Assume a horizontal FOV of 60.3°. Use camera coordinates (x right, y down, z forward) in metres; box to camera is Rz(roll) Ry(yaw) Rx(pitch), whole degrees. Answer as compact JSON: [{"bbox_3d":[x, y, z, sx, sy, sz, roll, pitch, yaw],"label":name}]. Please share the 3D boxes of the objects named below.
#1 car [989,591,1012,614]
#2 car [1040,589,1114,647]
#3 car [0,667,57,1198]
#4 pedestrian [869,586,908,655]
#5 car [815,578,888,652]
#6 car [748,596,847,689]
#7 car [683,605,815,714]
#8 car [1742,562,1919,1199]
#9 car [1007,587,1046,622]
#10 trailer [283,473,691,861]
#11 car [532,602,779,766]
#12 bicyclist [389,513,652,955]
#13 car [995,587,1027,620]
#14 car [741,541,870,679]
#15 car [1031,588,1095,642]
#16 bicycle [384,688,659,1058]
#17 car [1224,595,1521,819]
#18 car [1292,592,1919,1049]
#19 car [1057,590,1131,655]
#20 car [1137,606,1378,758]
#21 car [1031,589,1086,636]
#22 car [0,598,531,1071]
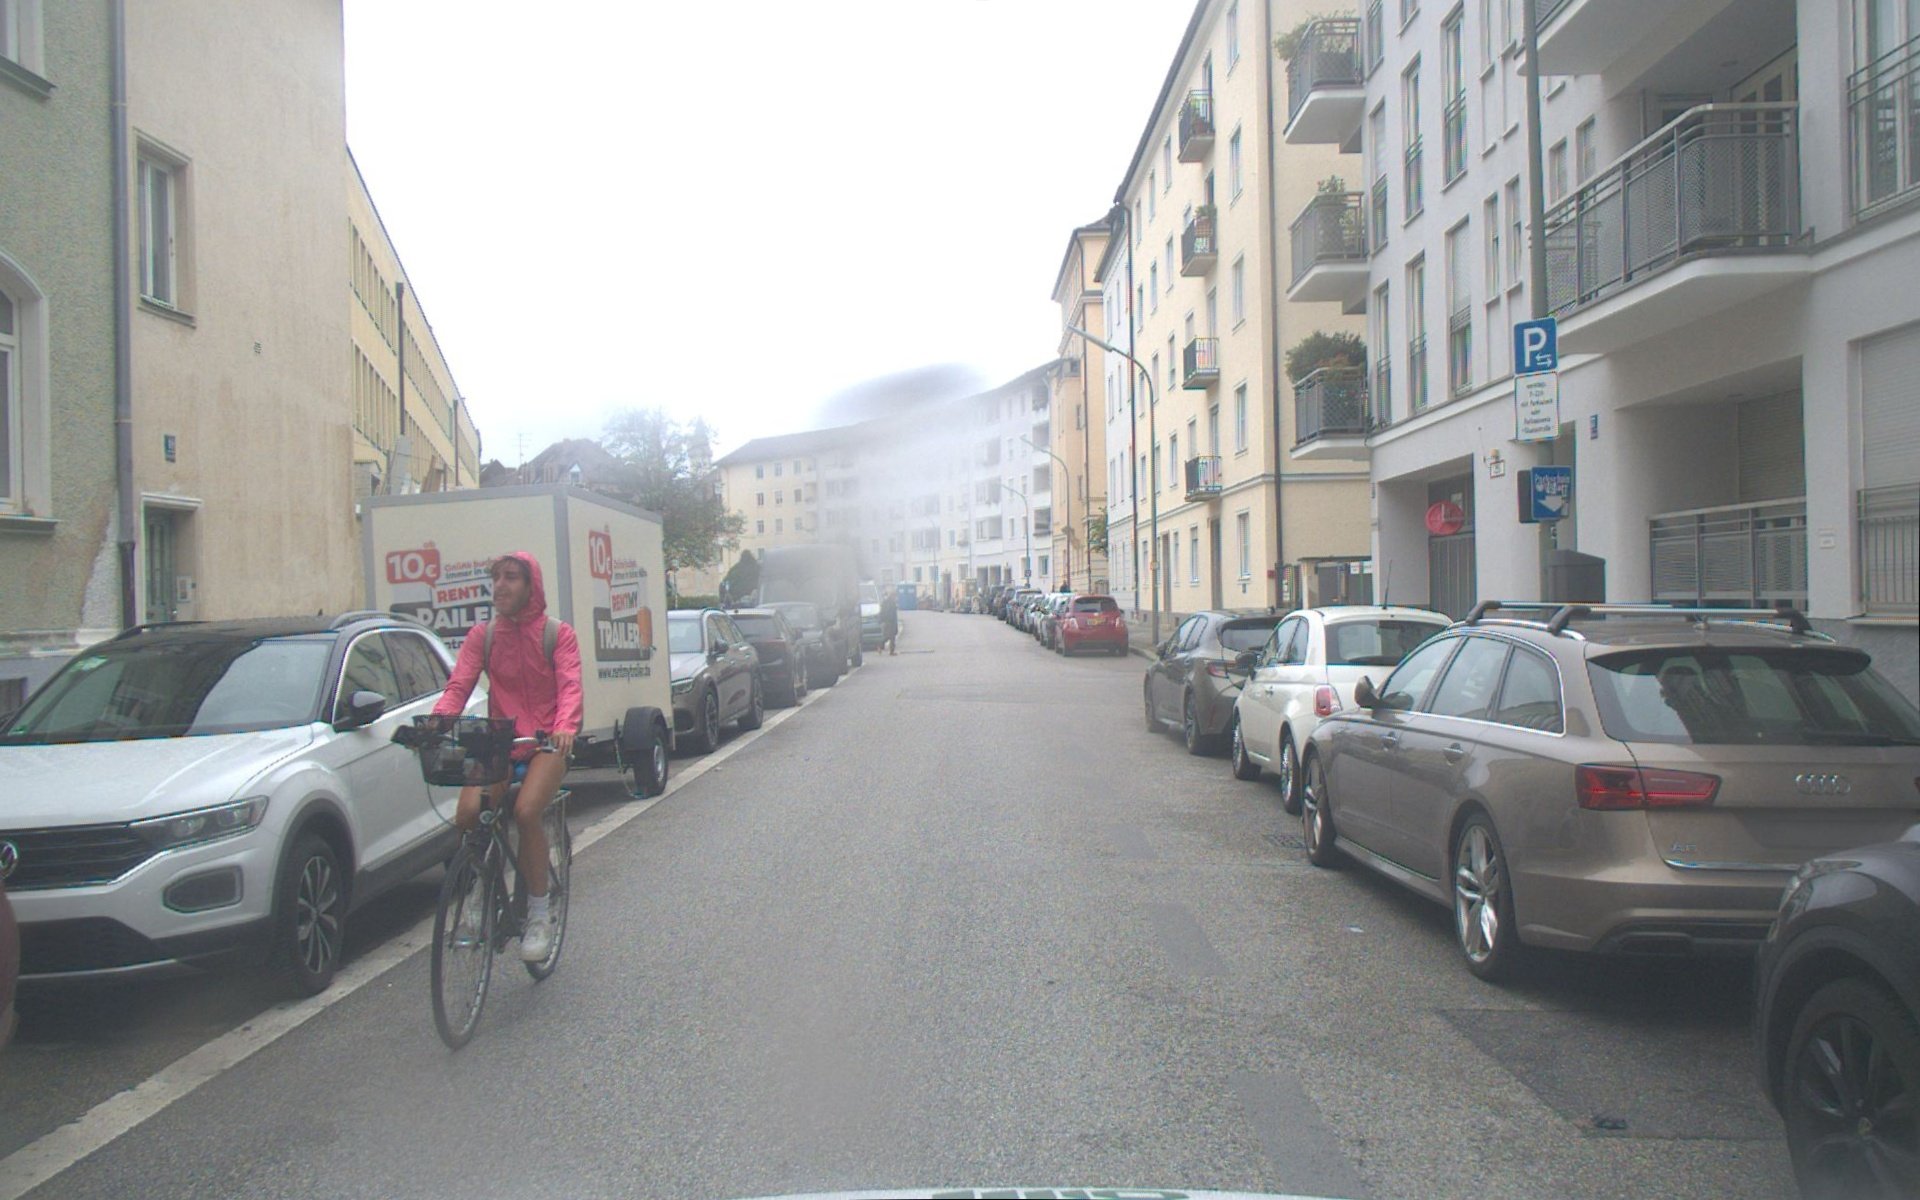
[{"bbox_3d":[2.423,0.121,99.030,1.246,1.321,2.797,-1,0,-1],"label":"car"},{"bbox_3d":[3.270,0.507,46.939,1.658,1.517,4.342,-2,0,-1],"label":"car"},{"bbox_3d":[-3.536,0.949,2.619,1.823,1.437,4.332,-3,0,-1],"label":"car"},{"bbox_3d":[-1.854,0.540,43.161,0.790,1.758,0.662,1,-2,-43],"label":"pedestrian"},{"bbox_3d":[-3.125,0.399,48.433,1.845,1.965,4.600,-3,1,-1],"label":"car"},{"bbox_3d":[-2.947,0.761,30.550,1.554,1.565,3.542,-2,-1,-2],"label":"car"},{"bbox_3d":[-3.196,0.854,25.663,1.666,1.471,3.823,-1,1,-2],"label":"car"},{"bbox_3d":[2.897,0.716,2.399,1.571,1.557,3.983,1,0,-1],"label":"car"},{"bbox_3d":[3.091,0.189,77.072,1.558,1.610,4.298,0,1,-1],"label":"car"},{"bbox_3d":[-3.532,0.432,13.270,1.674,2.504,4.388,-3,0,3],"label":"trailer"},{"bbox_3d":[-3.342,0.856,19.080,1.730,1.565,4.542,-3,0,3],"label":"car"},{"bbox_3d":[-1.699,0.487,6.530,0.679,1.589,0.967,-2,0,3],"label":"bicyclist"},{"bbox_3d":[2.671,0.174,86.970,1.444,1.669,4.000,0,1,-1],"label":"car"},{"bbox_3d":[-3.212,0.157,35.562,2.045,2.682,5.378,-1,1,2],"label":"car"},{"bbox_3d":[3.230,0.442,52.534,1.658,1.517,4.282,-2,1,-1],"label":"car"},{"bbox_3d":[-1.674,0.989,6.587,0.494,1.148,1.774,-2,0,3],"label":"bicycle"},{"bbox_3d":[3.159,0.745,13.309,1.488,1.557,3.526,0,0,0],"label":"car"},{"bbox_3d":[2.974,0.762,8.032,1.699,1.557,4.620,1,0,-1],"label":"car"},{"bbox_3d":[3.345,0.542,41.926,1.562,1.535,3.801,-1,0,0],"label":"car"},{"bbox_3d":[3.089,0.800,18.001,1.728,1.432,4.076,-1,0,-2],"label":"car"},{"bbox_3d":[3.411,0.405,57.624,1.567,1.517,3.798,-1,1,-2],"label":"car"},{"bbox_3d":[-3.410,0.859,7.894,1.652,1.631,3.921,-3,0,-1],"label":"car"}]
